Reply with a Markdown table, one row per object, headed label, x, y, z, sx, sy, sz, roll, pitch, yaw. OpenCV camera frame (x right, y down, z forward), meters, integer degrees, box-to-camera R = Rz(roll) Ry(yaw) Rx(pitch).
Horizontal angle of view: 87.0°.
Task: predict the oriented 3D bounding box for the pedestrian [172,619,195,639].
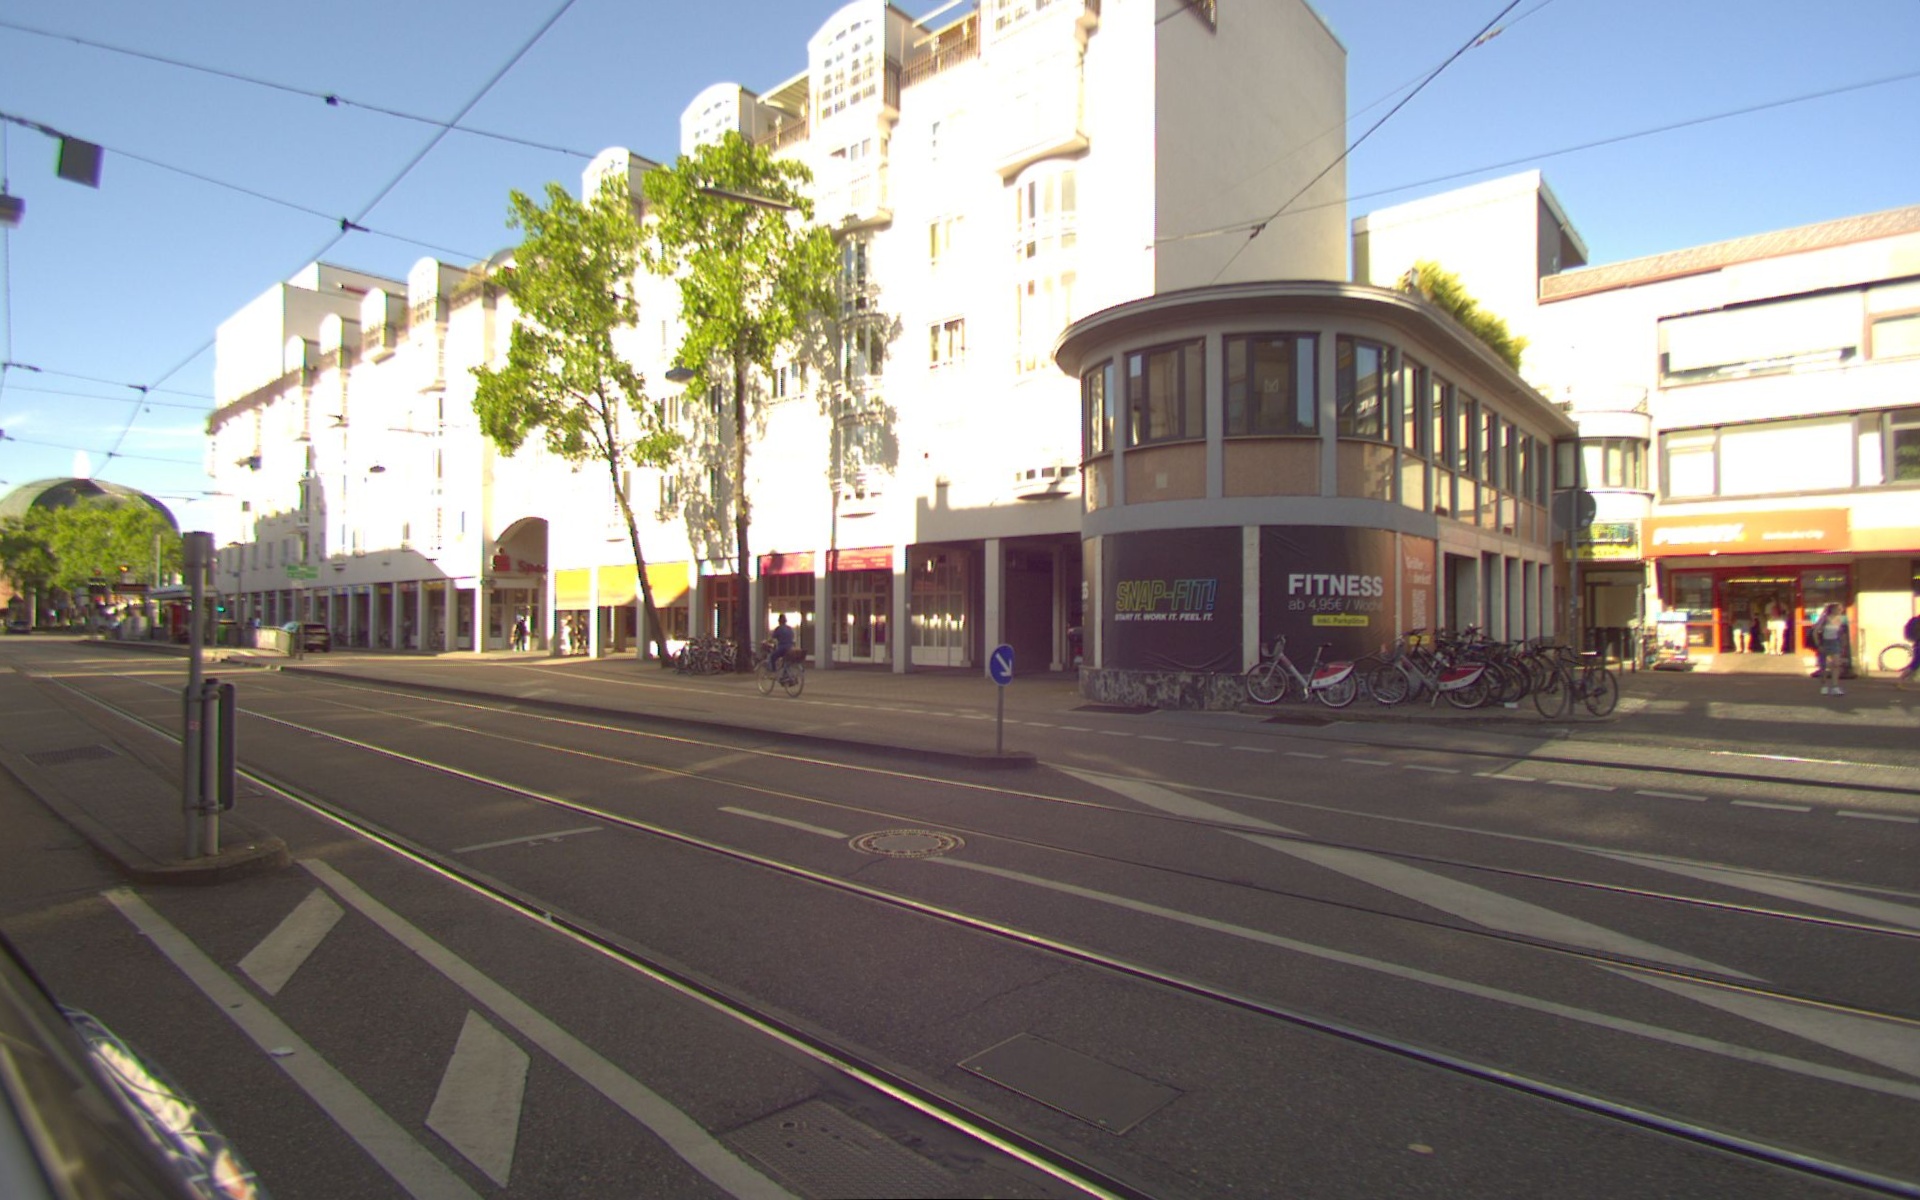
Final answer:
| label | x | y | z | sx | sy | sz | roll | pitch | yaw |
| --- | --- | --- | --- | --- | --- | --- | --- | --- | --- |
| pedestrian | -38.079 | 1.421 | 49.639 | 0.747 | 0.996 | 0.784 | -2 | -2 | 42 |

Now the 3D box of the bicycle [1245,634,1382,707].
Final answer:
| label | x | y | z | sx | sy | sz | roll | pitch | yaw |
| --- | --- | --- | --- | --- | --- | --- | --- | --- | --- |
| bicycle | 5.313 | 1.034 | 15.255 | 1.874 | 1.044 | 0.519 | -1 | -2 | 34 |

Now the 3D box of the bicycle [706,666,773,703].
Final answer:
| label | x | y | z | sx | sy | sz | roll | pitch | yaw |
| --- | --- | --- | --- | --- | --- | --- | --- | --- | --- |
| bicycle | -6.068 | 2.310 | 27.873 | 1.726 | 0.939 | 0.571 | 1 | -3 | -40 |

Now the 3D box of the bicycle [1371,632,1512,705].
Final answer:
| label | x | y | z | sx | sy | sz | roll | pitch | yaw |
| --- | --- | --- | --- | --- | --- | --- | --- | --- | --- |
| bicycle | 7.276 | 1.014 | 15.334 | 1.874 | 1.044 | 0.459 | -1 | -2 | 34 |

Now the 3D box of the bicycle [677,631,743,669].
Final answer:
| label | x | y | z | sx | sy | sz | roll | pitch | yaw |
| --- | --- | --- | --- | --- | --- | --- | --- | --- | --- |
| bicycle | -7.306 | 1.452 | 29.633 | 1.850 | 1.085 | 0.465 | 1 | -2 | -41 |

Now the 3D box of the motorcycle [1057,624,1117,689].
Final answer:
| label | x | y | z | sx | sy | sz | roll | pitch | yaw |
| --- | --- | --- | --- | --- | --- | --- | --- | --- | --- |
| motorcycle | 2.694 | 1.159 | 21.278 | 0.671 | 1.272 | 1.971 | -1 | -1 | 25 |

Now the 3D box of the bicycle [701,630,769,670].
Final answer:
| label | x | y | z | sx | sy | sz | roll | pitch | yaw |
| --- | --- | --- | --- | --- | --- | --- | --- | --- | --- |
| bicycle | -6.315 | 1.403 | 28.472 | 1.850 | 1.085 | 0.465 | 1 | -2 | -41 |

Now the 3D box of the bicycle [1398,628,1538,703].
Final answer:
| label | x | y | z | sx | sy | sz | roll | pitch | yaw |
| --- | --- | --- | --- | --- | --- | --- | --- | --- | --- |
| bicycle | 7.801 | 0.981 | 15.593 | 1.874 | 1.095 | 0.459 | -1 | -1 | 34 |

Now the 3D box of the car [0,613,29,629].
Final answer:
| label | x | y | z | sx | sy | sz | roll | pitch | yaw |
| --- | --- | --- | --- | --- | --- | --- | --- | --- | --- |
| car | -100.416 | 2.207 | 107.385 | 3.999 | 1.630 | 1.972 | -2 | -2 | 42 |

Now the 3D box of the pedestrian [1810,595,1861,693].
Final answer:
| label | x | y | z | sx | sy | sz | roll | pitch | yaw |
| --- | --- | --- | --- | --- | --- | --- | --- | --- | --- |
| pedestrian | 15.659 | 0.778 | 18.111 | 0.653 | 1.708 | 0.476 | -1 | -2 | 39 |

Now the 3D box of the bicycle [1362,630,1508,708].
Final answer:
| label | x | y | z | sx | sy | sz | roll | pitch | yaw |
| --- | --- | --- | --- | --- | --- | --- | --- | --- | --- |
| bicycle | 6.962 | 0.996 | 14.884 | 1.874 | 1.088 | 0.459 | -1 | -2 | 34 |

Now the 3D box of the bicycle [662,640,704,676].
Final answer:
| label | x | y | z | sx | sy | sz | roll | pitch | yaw |
| --- | --- | --- | --- | --- | --- | --- | --- | --- | --- |
| bicycle | -7.753 | 1.601 | 28.286 | 0.464 | 0.939 | 1.757 | 1 | -1 | -39 |

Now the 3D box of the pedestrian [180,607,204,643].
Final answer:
| label | x | y | z | sx | sy | sz | roll | pitch | yaw |
| --- | --- | --- | --- | --- | --- | --- | --- | --- | --- |
| pedestrian | -35.313 | 1.153 | 46.529 | 0.747 | 1.657 | 0.784 | -2 | -2 | 42 |

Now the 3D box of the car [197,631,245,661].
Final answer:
| label | x | y | z | sx | sy | sz | roll | pitch | yaw |
| --- | --- | --- | --- | --- | --- | --- | --- | --- | --- |
| car | -43.250 | 2.646 | 59.195 | 1.758 | 1.681 | 4.776 | 2 | -3 | -42 |

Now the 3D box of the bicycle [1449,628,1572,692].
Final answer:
| label | x | y | z | sx | sy | sz | roll | pitch | yaw |
| --- | --- | --- | --- | --- | --- | --- | --- | --- | --- |
| bicycle | 9.785 | 1.046 | 18.026 | 1.873 | 1.085 | 0.459 | -1 | -2 | 33 |

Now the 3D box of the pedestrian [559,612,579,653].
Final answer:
| label | x | y | z | sx | sy | sz | roll | pitch | yaw |
| --- | --- | --- | --- | --- | --- | --- | --- | --- | --- |
| pedestrian | -16.094 | 1.343 | 41.656 | 0.523 | 1.657 | 0.556 | -1 | -2 | 42 |

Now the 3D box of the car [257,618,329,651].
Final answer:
| label | x | y | z | sx | sy | sz | roll | pitch | yaw |
| --- | --- | --- | --- | --- | --- | --- | --- | --- | --- |
| car | -33.541 | 1.717 | 50.883 | 4.263 | 1.552 | 1.762 | -1 | -4 | 39 |

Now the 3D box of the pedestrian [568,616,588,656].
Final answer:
| label | x | y | z | sx | sy | sz | roll | pitch | yaw |
| --- | --- | --- | --- | --- | --- | --- | --- | --- | --- |
| pedestrian | -15.838 | 1.487 | 41.983 | 0.523 | 1.657 | 0.556 | -2 | -4 | 42 |

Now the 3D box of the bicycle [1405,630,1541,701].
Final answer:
| label | x | y | z | sx | sy | sz | roll | pitch | yaw |
| --- | --- | --- | --- | --- | --- | --- | --- | --- | --- |
| bicycle | 8.139 | 1.020 | 16.113 | 1.874 | 1.085 | 0.459 | -1 | -2 | 34 |

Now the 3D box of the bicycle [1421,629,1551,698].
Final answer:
| label | x | y | z | sx | sy | sz | roll | pitch | yaw |
| --- | --- | --- | --- | --- | --- | --- | --- | --- | --- |
| bicycle | 8.698 | 1.026 | 16.767 | 1.873 | 1.085 | 0.459 | -1 | -2 | 33 |

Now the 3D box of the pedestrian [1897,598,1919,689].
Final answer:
| label | x | y | z | sx | sy | sz | roll | pitch | yaw |
| --- | --- | --- | --- | --- | --- | --- | --- | --- | --- |
| pedestrian | 17.644 | 0.783 | 18.505 | 0.691 | 1.646 | 0.632 | -2 | -2 | 41 |

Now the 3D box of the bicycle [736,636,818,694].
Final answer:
| label | x | y | z | sx | sy | sz | roll | pitch | yaw |
| --- | --- | --- | --- | --- | --- | --- | --- | --- | --- |
| bicycle | -3.817 | 1.331 | 21.003 | 2.004 | 1.132 | 0.557 | -2 | -6 | 44 |

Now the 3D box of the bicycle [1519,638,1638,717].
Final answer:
| label | x | y | z | sx | sy | sz | roll | pitch | yaw |
| --- | --- | --- | --- | --- | --- | --- | --- | --- | --- |
| bicycle | 8.675 | 1.061 | 14.189 | 1.847 | 1.044 | 0.427 | 0 | -2 | -24 |

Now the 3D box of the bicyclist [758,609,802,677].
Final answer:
| label | x | y | z | sx | sy | sz | roll | pitch | yaw |
| --- | --- | --- | --- | --- | --- | --- | --- | --- | --- |
| bicyclist | -3.719 | 0.873 | 20.906 | 0.719 | 1.372 | 0.556 | -1 | -2 | 44 |

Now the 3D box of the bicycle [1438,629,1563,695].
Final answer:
| label | x | y | z | sx | sy | sz | roll | pitch | yaw |
| --- | --- | --- | --- | --- | --- | --- | --- | --- | --- |
| bicycle | 9.373 | 1.055 | 17.595 | 1.873 | 1.085 | 0.459 | -1 | -2 | 33 |

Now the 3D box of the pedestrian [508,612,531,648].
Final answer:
| label | x | y | z | sx | sy | sz | roll | pitch | yaw |
| --- | --- | --- | --- | --- | --- | --- | --- | --- | --- |
| pedestrian | -20.411 | 1.391 | 46.867 | 0.731 | 1.657 | 0.737 | -1 | -1 | 42 |

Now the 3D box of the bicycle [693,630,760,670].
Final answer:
| label | x | y | z | sx | sy | sz | roll | pitch | yaw |
| --- | --- | --- | --- | --- | --- | --- | --- | --- | --- |
| bicycle | -6.638 | 1.415 | 28.853 | 1.850 | 1.085 | 0.465 | 1 | -2 | -41 |

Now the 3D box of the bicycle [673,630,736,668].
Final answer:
| label | x | y | z | sx | sy | sz | roll | pitch | yaw |
| --- | --- | --- | --- | --- | --- | --- | --- | --- | --- |
| bicycle | -7.654 | 1.463 | 30.381 | 1.851 | 1.085 | 0.512 | 1 | -2 | -44 |
